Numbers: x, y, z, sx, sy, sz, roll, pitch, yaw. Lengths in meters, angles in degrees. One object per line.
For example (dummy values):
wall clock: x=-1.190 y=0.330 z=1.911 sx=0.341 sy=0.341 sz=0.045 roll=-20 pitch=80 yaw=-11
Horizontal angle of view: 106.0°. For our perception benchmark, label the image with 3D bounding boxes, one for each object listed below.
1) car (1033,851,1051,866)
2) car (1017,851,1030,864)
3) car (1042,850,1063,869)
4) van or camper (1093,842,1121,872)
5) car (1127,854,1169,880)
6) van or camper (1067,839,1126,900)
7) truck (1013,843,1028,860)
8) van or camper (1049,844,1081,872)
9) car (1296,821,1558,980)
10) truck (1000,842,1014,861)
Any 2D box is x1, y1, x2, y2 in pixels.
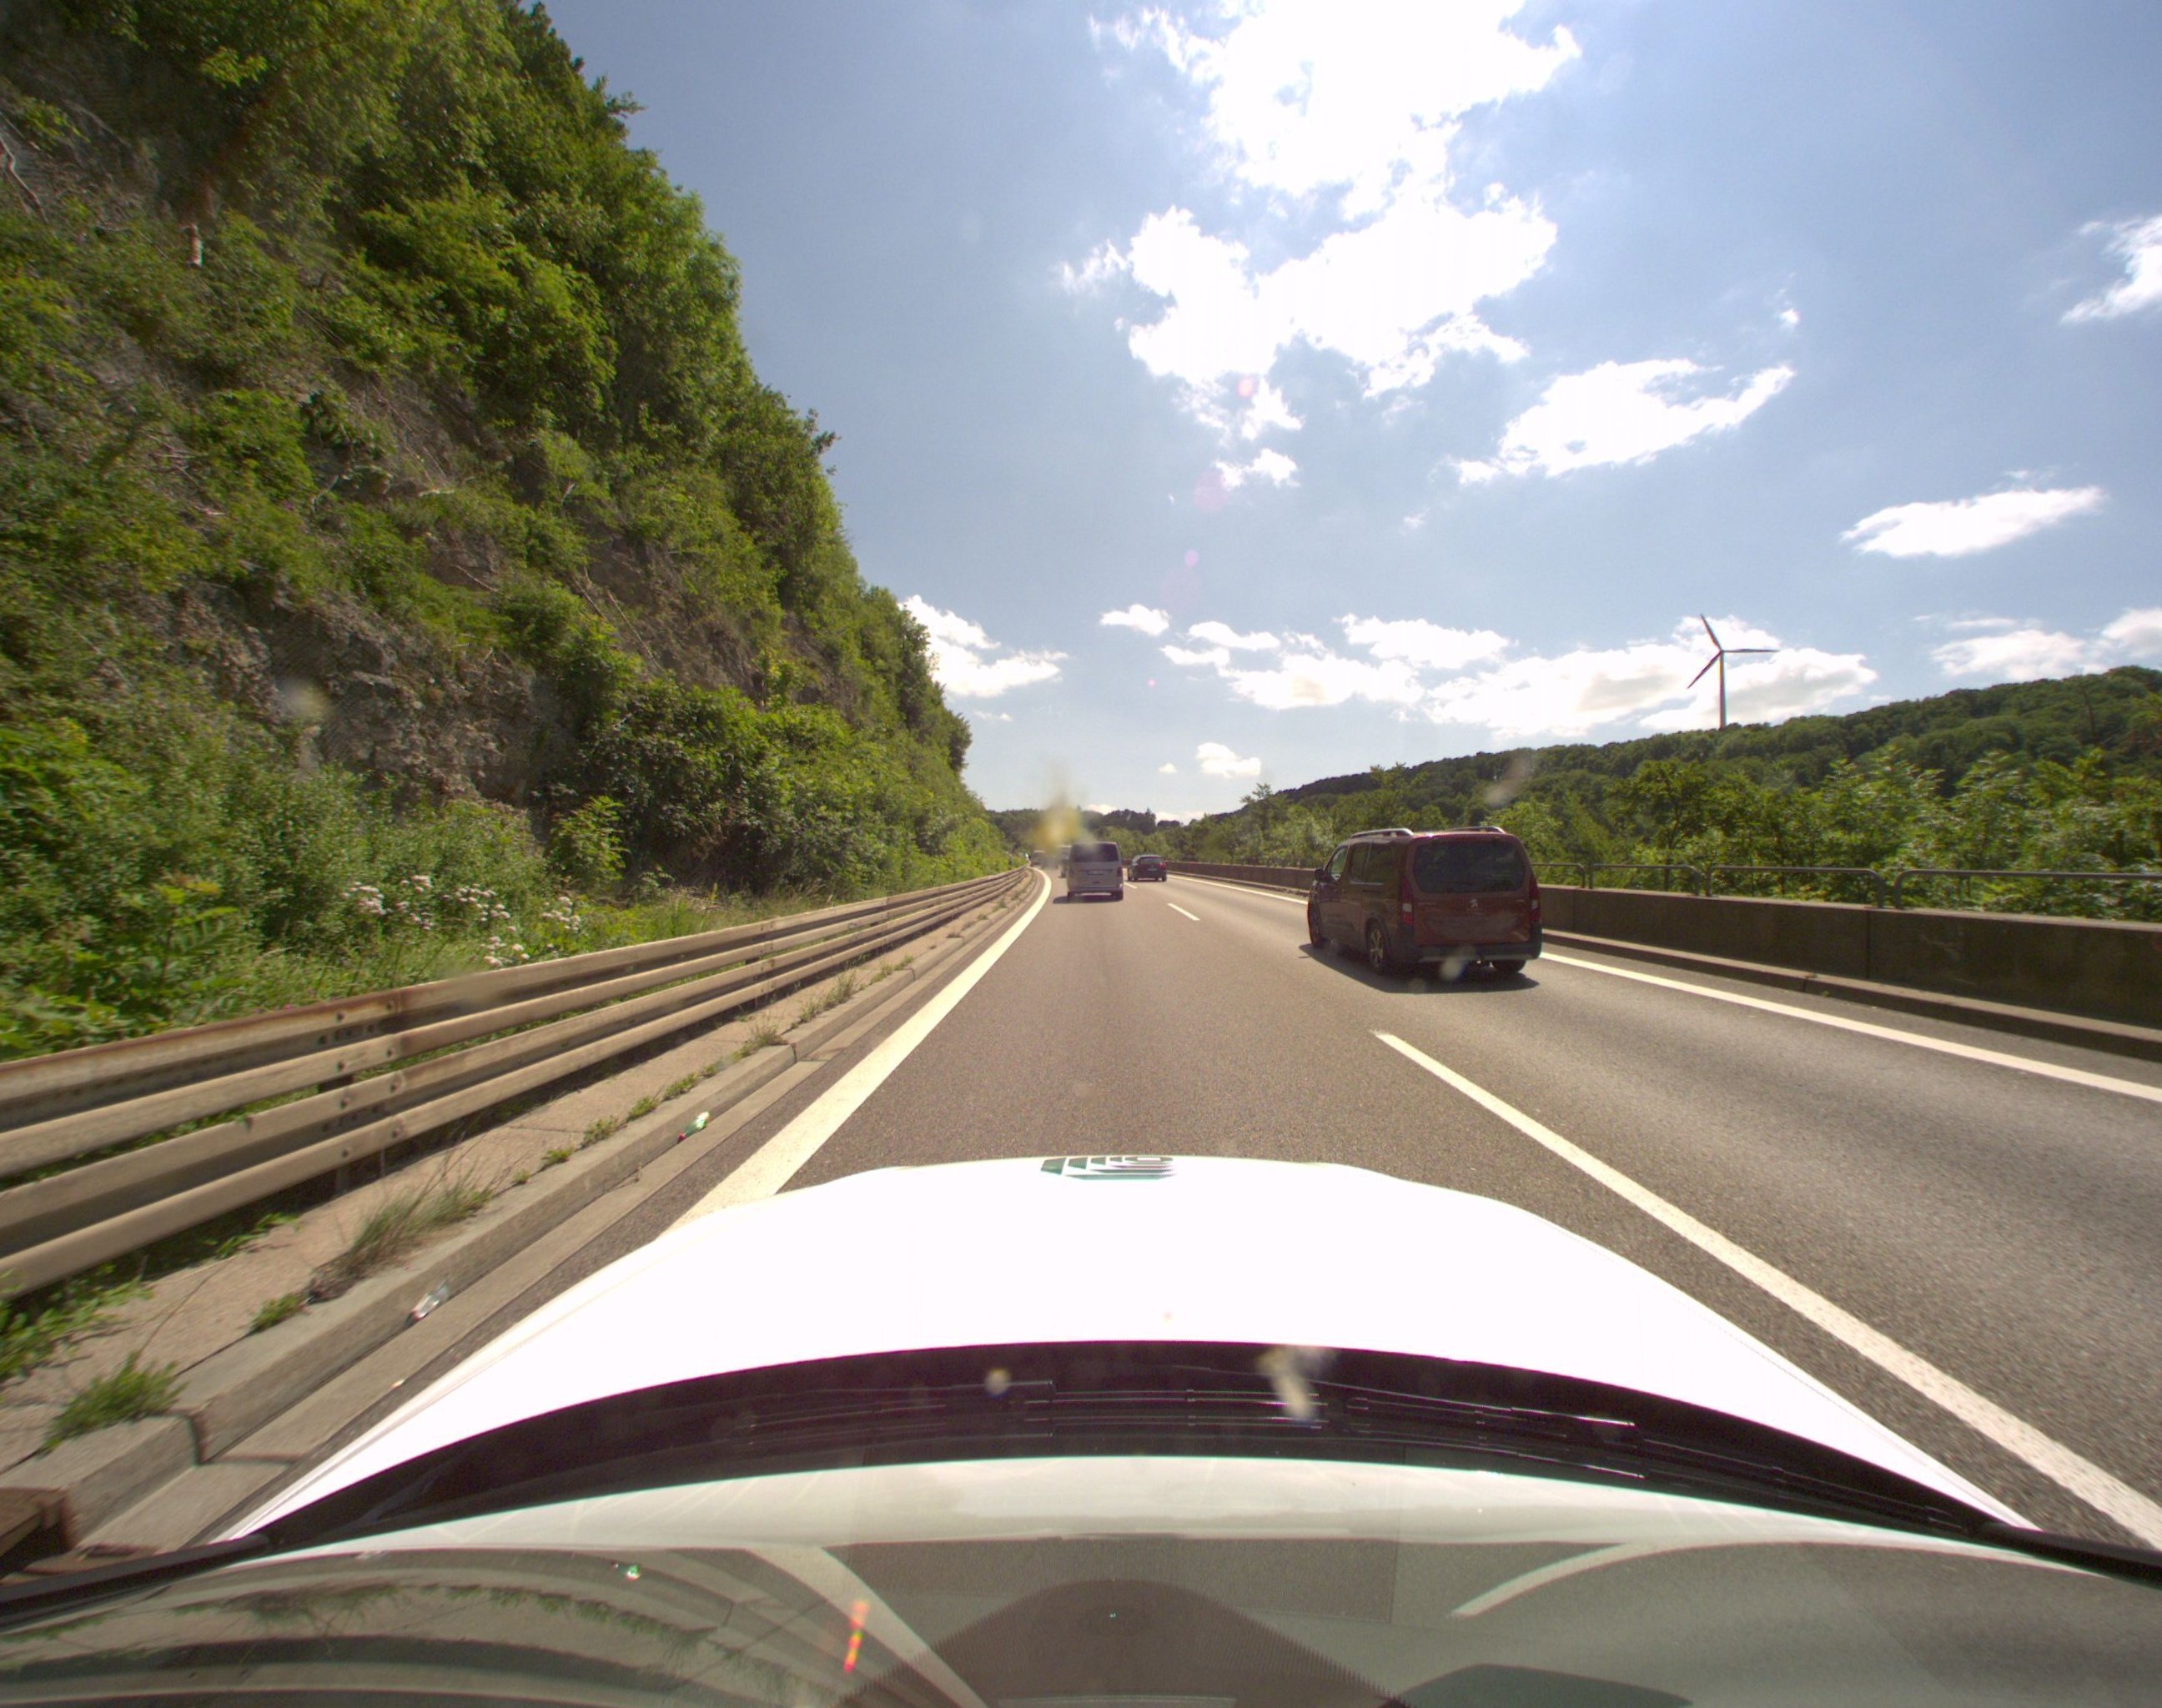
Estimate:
car: x=-4.675 y=0.548 z=97.985 sx=1.987 sy=1.817 sz=4.000 roll=-1 pitch=0 yaw=0
car: x=-8.660 y=0.551 z=122.945 sx=1.990 sy=1.915 sz=3.994 roll=-1 pitch=0 yaw=-4
car: x=-2.849 y=0.523 z=81.591 sx=1.989 sy=1.817 sz=3.995 roll=-1 pitch=0 yaw=-3
van or camper: x=2.222 y=0.284 z=72.191 sx=2.257 sy=2.551 sz=4.735 roll=-2 pitch=0 yaw=0
car: x=3.686 y=0.692 z=45.036 sx=1.765 sy=1.375 sz=3.587 roll=-1 pitch=0 yaw=-4
van or camper: x=0.485 y=0.510 z=28.373 sx=1.870 sy=1.949 sz=4.293 roll=-1 pitch=0 yaw=0
truck: x=-16.037 y=-0.571 z=215.801 sx=3.280 sy=4.331 sz=7.730 roll=-1 pitch=0 yaw=1
van or camper: x=-2.311 y=0.528 z=112.945 sx=3.276 sy=3.789 sz=8.083 roll=-1 pitch=0 yaw=-10
car: x=4.561 y=0.552 z=11.616 sx=1.827 sy=1.784 sz=4.677 roll=-1 pitch=-1 yaw=1
truck: x=-18.034 y=-0.642 z=197.821 sx=3.288 sy=4.519 sz=7.711 roll=-1 pitch=0 yaw=-7
